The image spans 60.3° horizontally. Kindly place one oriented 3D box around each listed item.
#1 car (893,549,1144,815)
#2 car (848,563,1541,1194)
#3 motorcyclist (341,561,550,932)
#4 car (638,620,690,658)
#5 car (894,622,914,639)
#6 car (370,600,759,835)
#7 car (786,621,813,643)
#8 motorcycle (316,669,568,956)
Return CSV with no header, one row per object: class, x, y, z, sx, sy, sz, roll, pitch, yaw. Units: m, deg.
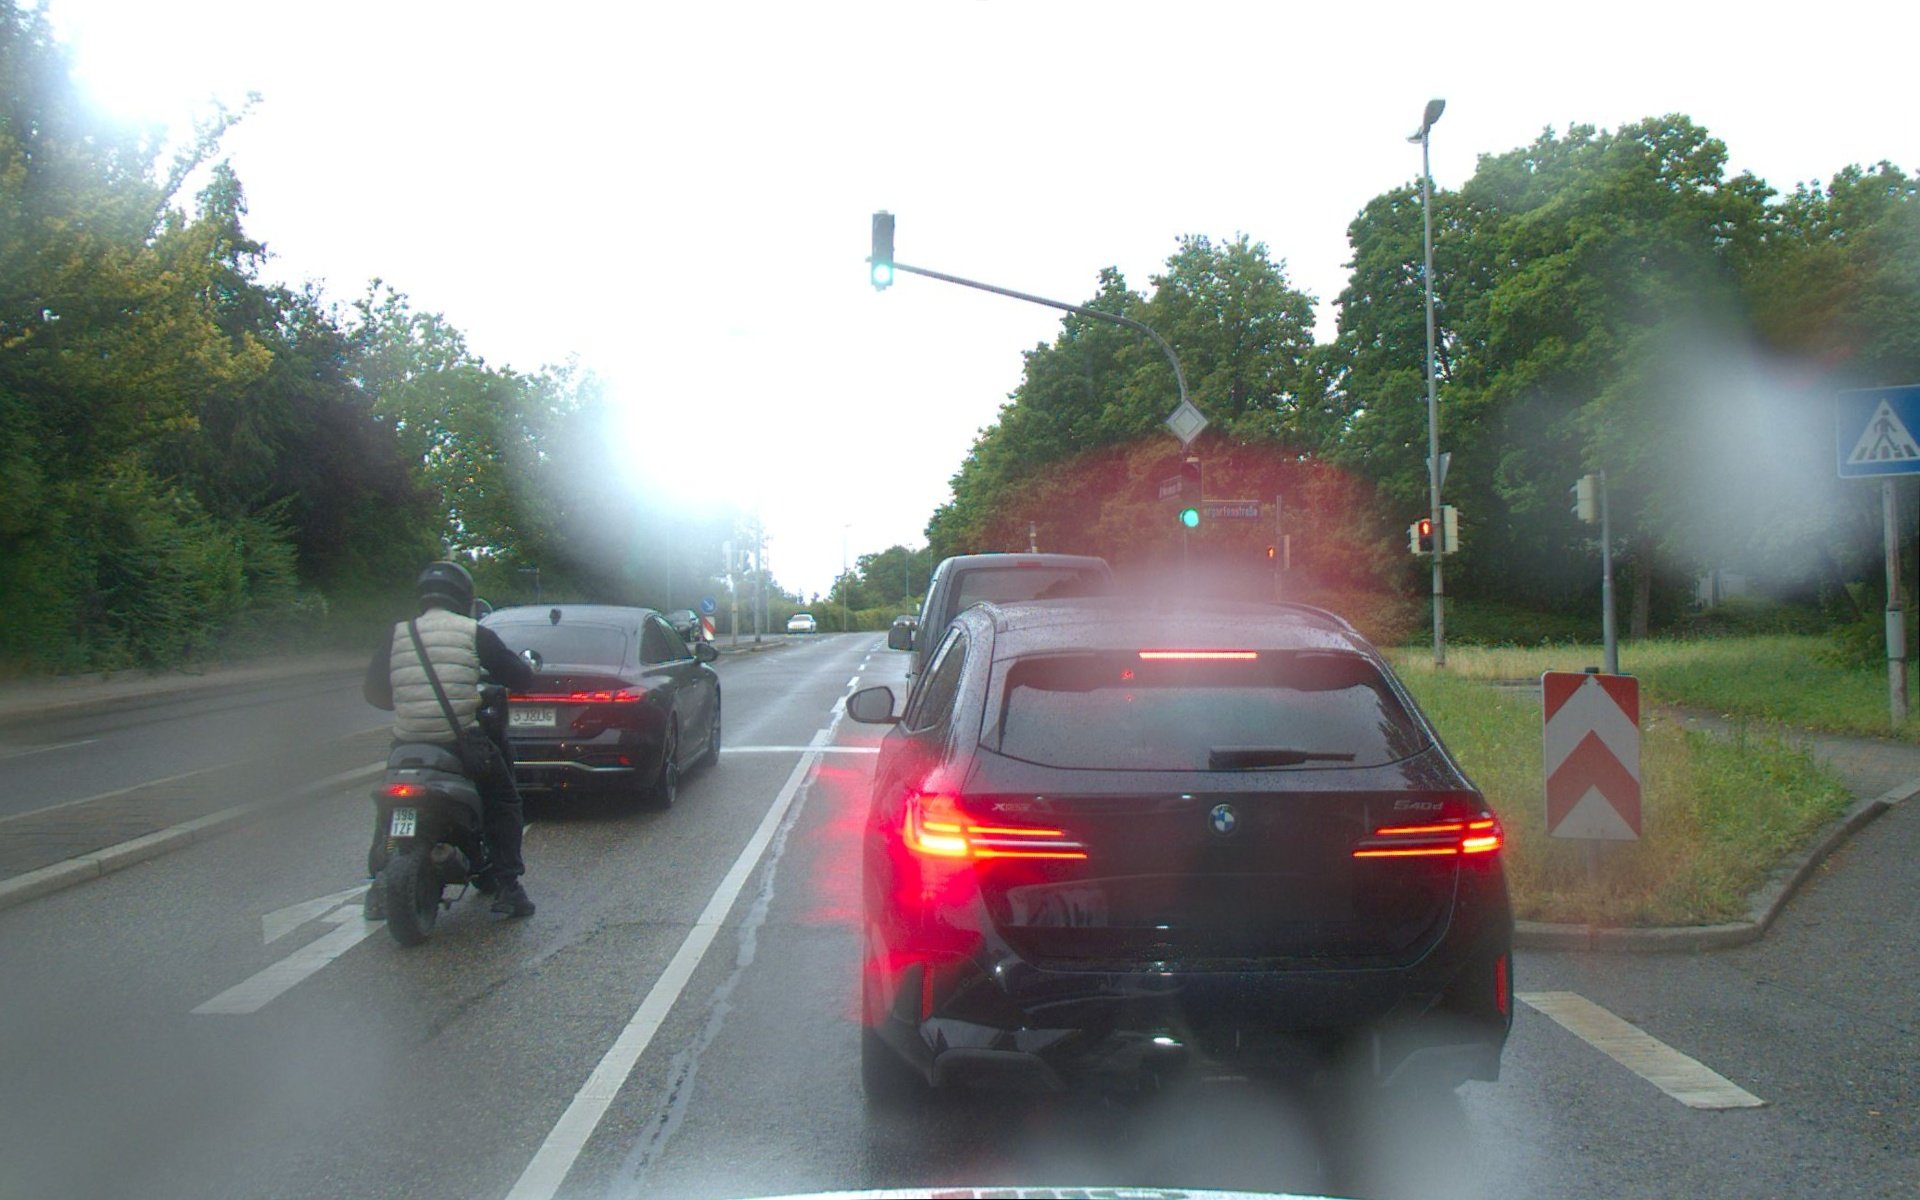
car,0.380,0.553,13.451,1.731,1.841,3.904,0,0,-1
car,0.565,0.711,5.964,1.728,1.563,3.672,0,0,-1
motorcyclist,-2.387,0.662,7.723,0.828,1.676,0.468,0,0,-1
car,-13.031,1.711,72.913,1.826,1.518,3.830,-1,0,-4
car,-5.515,3.031,163.244,1.984,1.590,3.875,-2,0,-2
car,-2.792,0.749,12.786,1.974,1.440,4.485,0,1,-1
car,-11.957,2.385,123.493,1.693,1.511,4.155,-2,0,-2
motorcycle,-2.355,0.928,7.698,0.726,1.139,1.426,1,0,-1
